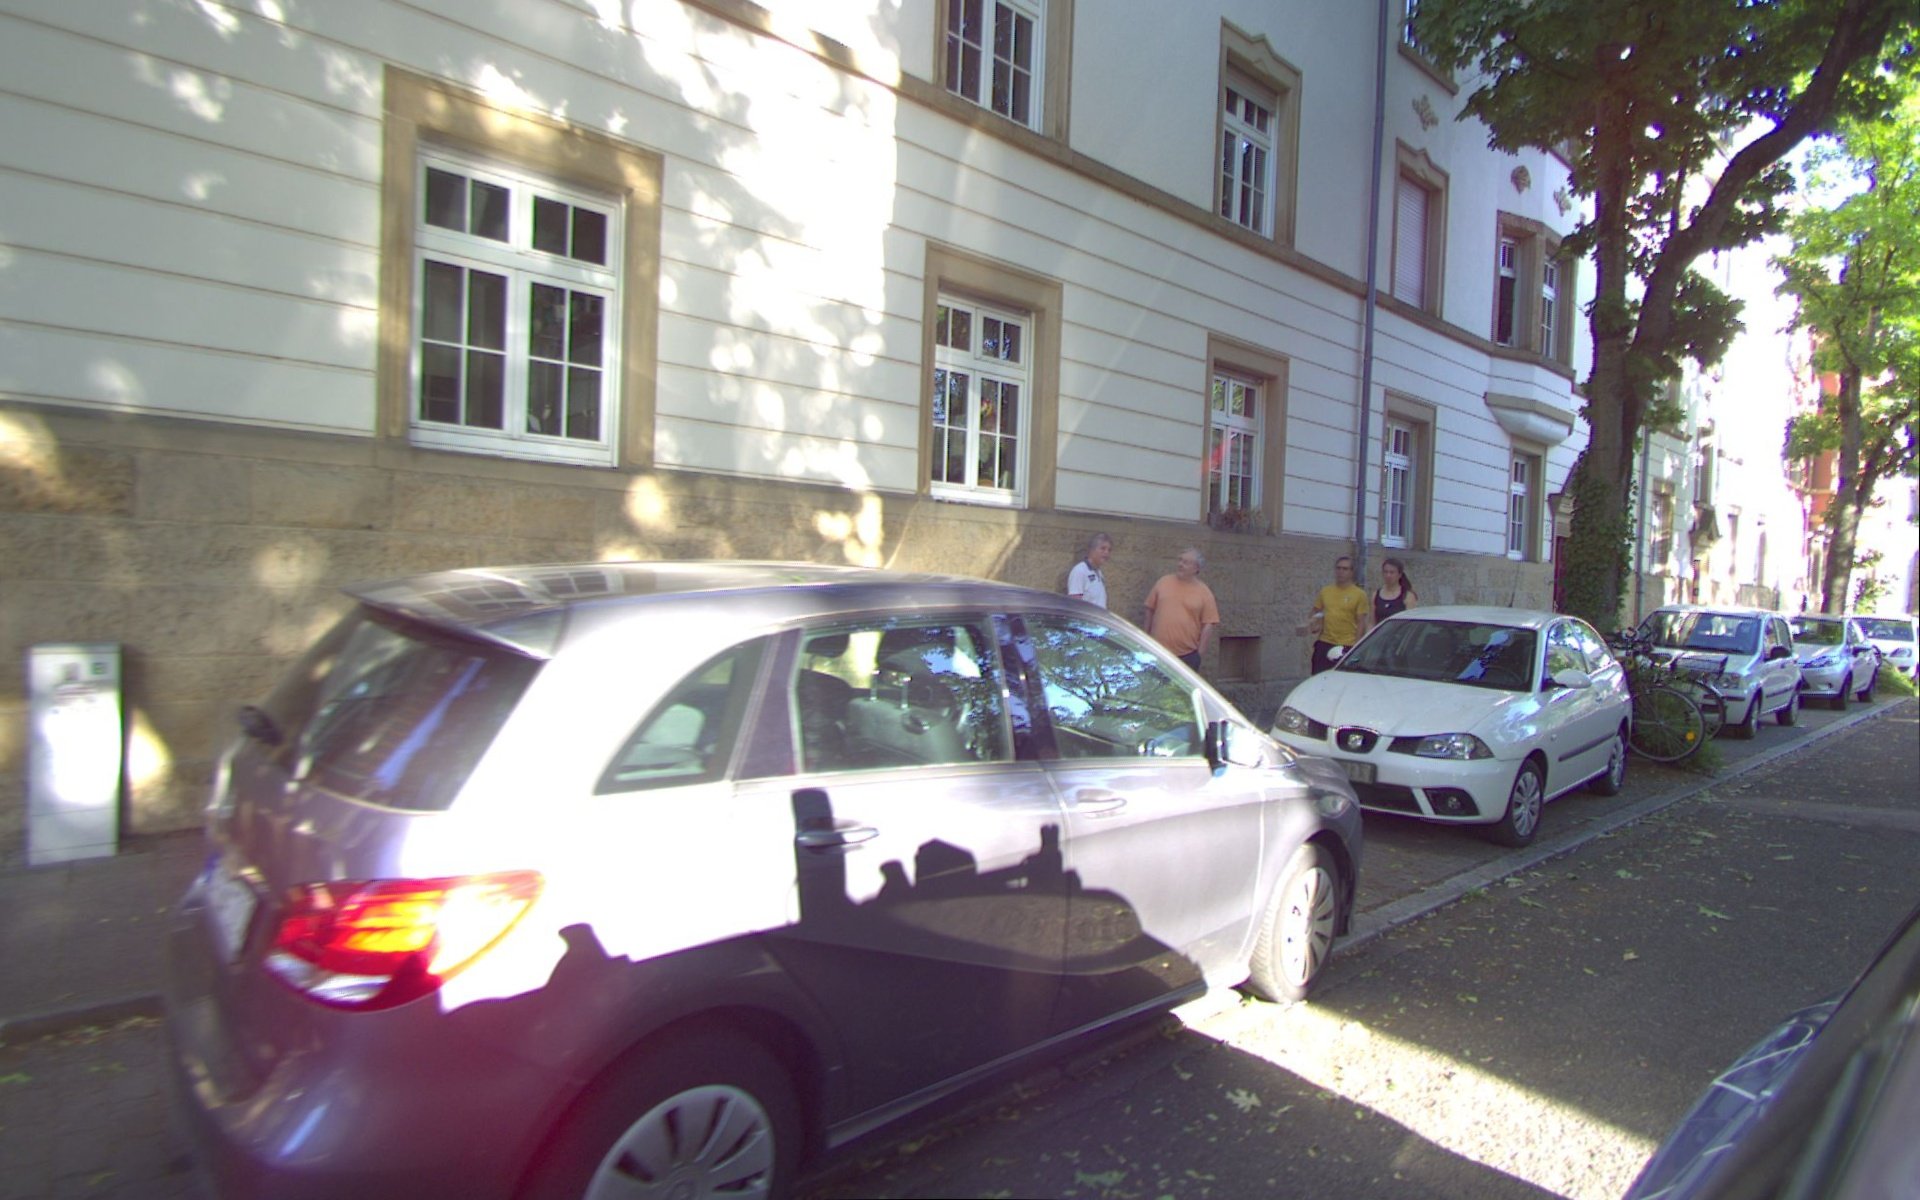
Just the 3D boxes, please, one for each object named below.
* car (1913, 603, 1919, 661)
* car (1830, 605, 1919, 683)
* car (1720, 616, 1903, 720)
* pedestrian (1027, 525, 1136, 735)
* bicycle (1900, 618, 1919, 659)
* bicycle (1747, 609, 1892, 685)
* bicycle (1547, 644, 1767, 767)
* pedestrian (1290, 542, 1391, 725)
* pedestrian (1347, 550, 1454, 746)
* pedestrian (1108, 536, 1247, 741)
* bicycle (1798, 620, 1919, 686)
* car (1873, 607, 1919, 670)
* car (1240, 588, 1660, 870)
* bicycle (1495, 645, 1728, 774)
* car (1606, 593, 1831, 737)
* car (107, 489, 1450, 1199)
[{"bbox_3d":[31.592,1.047,31.882,4.859,1.737,1.888,1,2,-42],"label":"car"},{"bbox_3d":[20.754,0.939,22.451,3.682,1.506,1.600,1,3,-41],"label":"car"},{"bbox_3d":[14.138,1.030,16.731,4.084,1.411,1.626,1,2,-41],"label":"car"},{"bbox_3d":[1.053,0.238,8.749,0.744,1.726,0.490,1,3,-42],"label":"pedestrian"},{"bbox_3d":[28.667,1.172,29.464,0.559,1.181,1.815,1,2,-41],"label":"bicycle"},{"bbox_3d":[16.607,0.880,19.606,0.746,1.244,1.975,1,3,-39],"label":"bicycle"},{"bbox_3d":[7.205,1.044,10.538,0.595,1.052,1.773,1,1,-40],"label":"bicycle"},{"bbox_3d":[3.746,0.305,9.969,0.676,1.722,0.597,1,2,-39],"label":"pedestrian"},{"bbox_3d":[4.173,0.429,9.576,0.862,1.756,0.521,1,2,-39],"label":"pedestrian"},{"bbox_3d":[1.945,0.308,9.081,0.859,1.715,0.779,1,3,-41],"label":"pedestrian"},{"bbox_3d":[18.045,1.033,20.150,0.589,1.086,1.975,1,4,-39],"label":"bicycle"},{"bbox_3d":[25.381,0.986,26.444,4.382,1.532,1.789,1,1,-42],"label":"car"},{"bbox_3d":[3.794,0.725,7.510,1.612,1.496,3.807,3,2,45],"label":"car"},{"bbox_3d":[6.259,1.003,9.798,0.720,0.961,1.720,1,3,-40],"label":"bicycle"},{"bbox_3d":[9.741,0.735,12.911,3.481,1.529,1.523,1,2,-40],"label":"car"},{"bbox_3d":[-0.084,0.608,3.534,4.336,1.570,1.791,0,2,-44],"label":"car"}]
